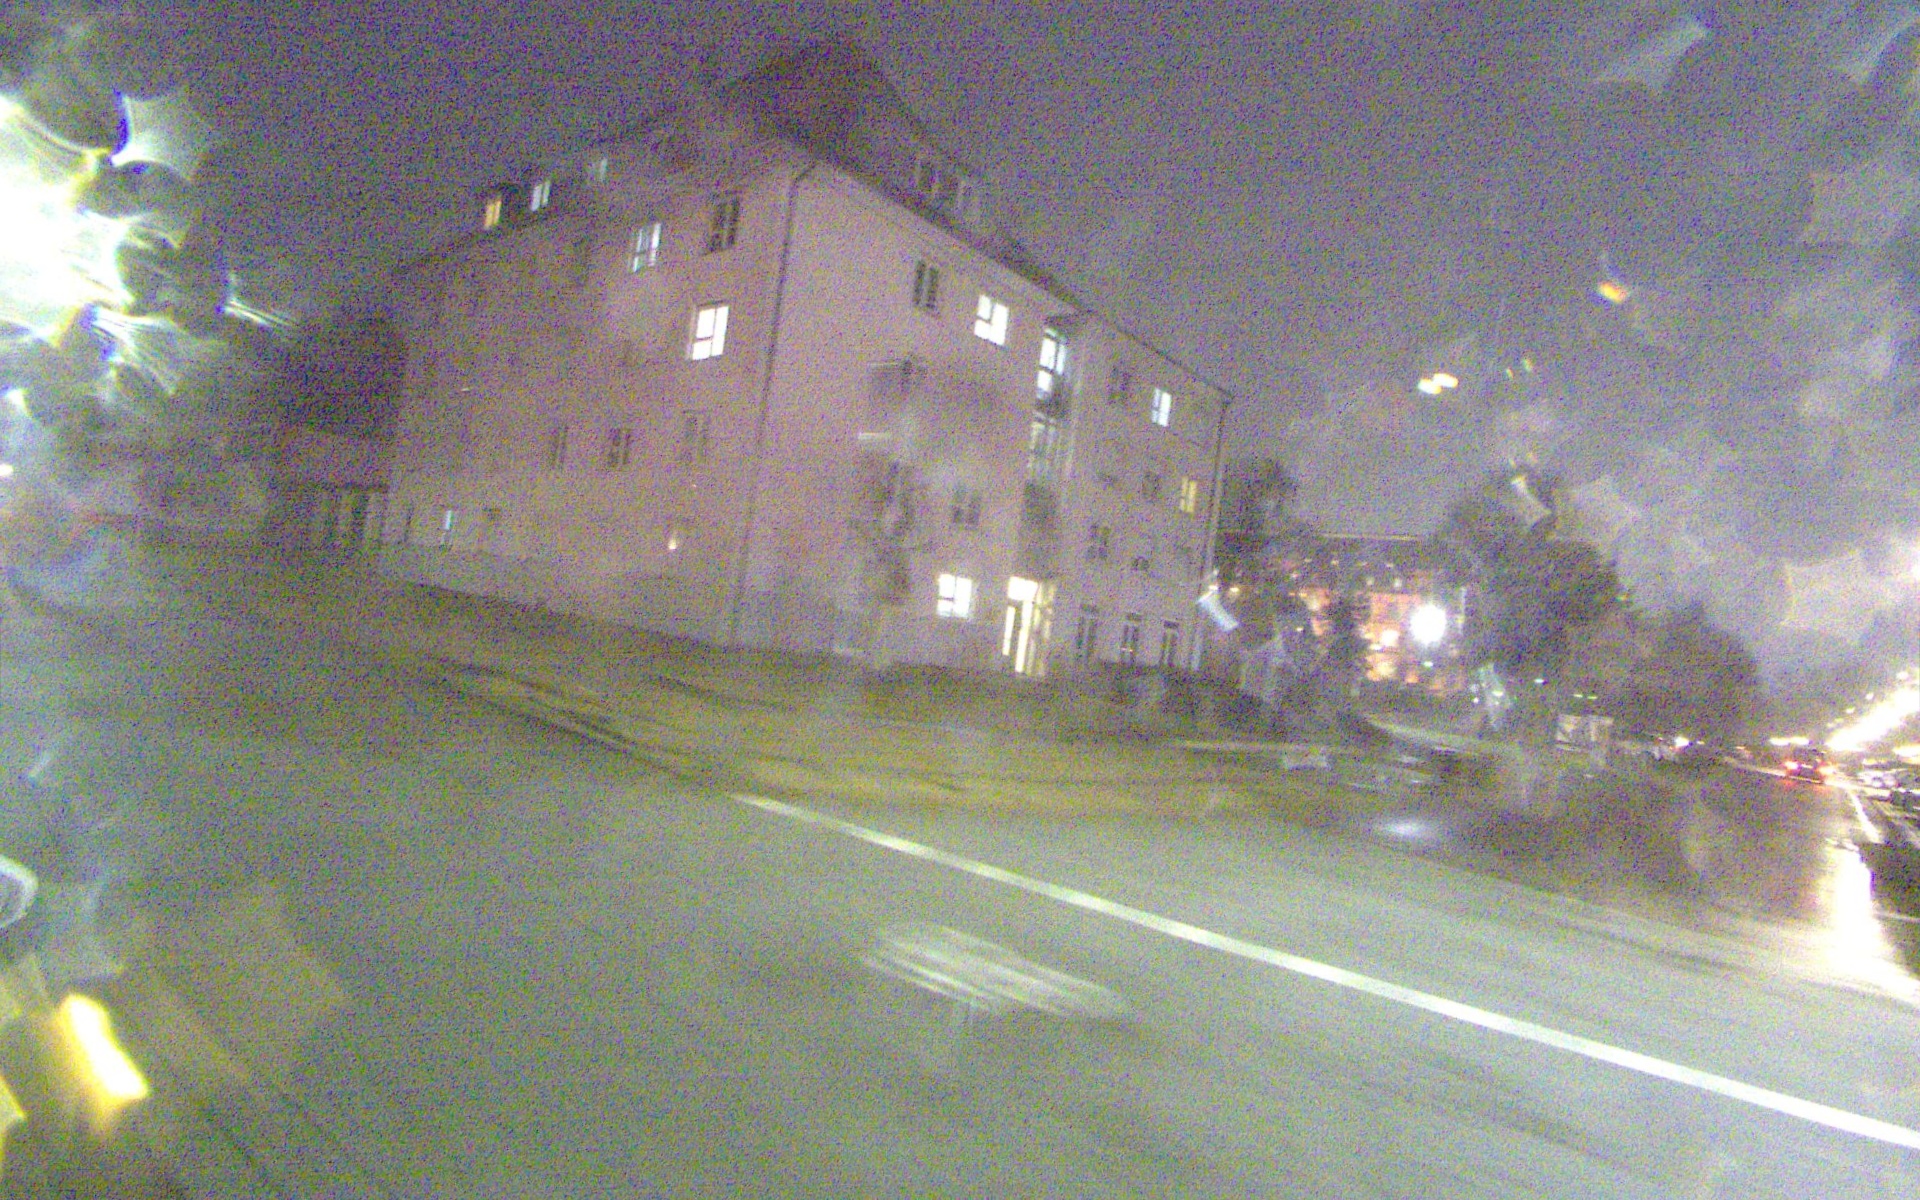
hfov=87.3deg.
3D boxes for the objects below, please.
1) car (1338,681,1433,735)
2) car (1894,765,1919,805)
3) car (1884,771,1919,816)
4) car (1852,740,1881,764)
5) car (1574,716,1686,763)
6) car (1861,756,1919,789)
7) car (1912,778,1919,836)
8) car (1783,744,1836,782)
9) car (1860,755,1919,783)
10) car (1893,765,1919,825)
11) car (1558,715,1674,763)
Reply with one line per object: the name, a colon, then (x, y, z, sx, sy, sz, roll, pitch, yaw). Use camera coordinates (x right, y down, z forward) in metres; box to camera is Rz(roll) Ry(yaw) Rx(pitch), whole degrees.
car: (20.917, 5.264, 49.453, 3.931, 2.038, 1.998, 7, -1, 28)
car: (42.547, 8.187, 42.650, 1.989, 1.516, 4.134, 9, -2, -44)
car: (38.871, 7.831, 39.115, 4.128, 1.516, 1.991, 6, -1, 42)
car: (93.707, 15.723, 104.019, 1.973, 2.037, 3.983, 7, -2, 42)
car: (32.020, 6.653, 48.131, 4.128, 1.516, 1.991, 6, -1, 42)
car: (58.071, 10.705, 61.711, 3.949, 1.504, 1.989, 6, -1, 45)
car: (27.961, 5.836, 26.401, 1.988, 1.539, 4.134, 8, -1, -44)
car: (47.667, 9.121, 56.414, 1.973, 1.693, 3.981, 6, -2, 43)
car: (72.408, 13.118, 77.852, 3.946, 1.504, 1.990, 6, -1, 43)
car: (29.848, 5.971, 28.539, 1.990, 1.654, 4.755, 10, -3, -43)
car: (30.189, 6.373, 46.353, 4.128, 1.516, 1.991, 6, -1, 42)
